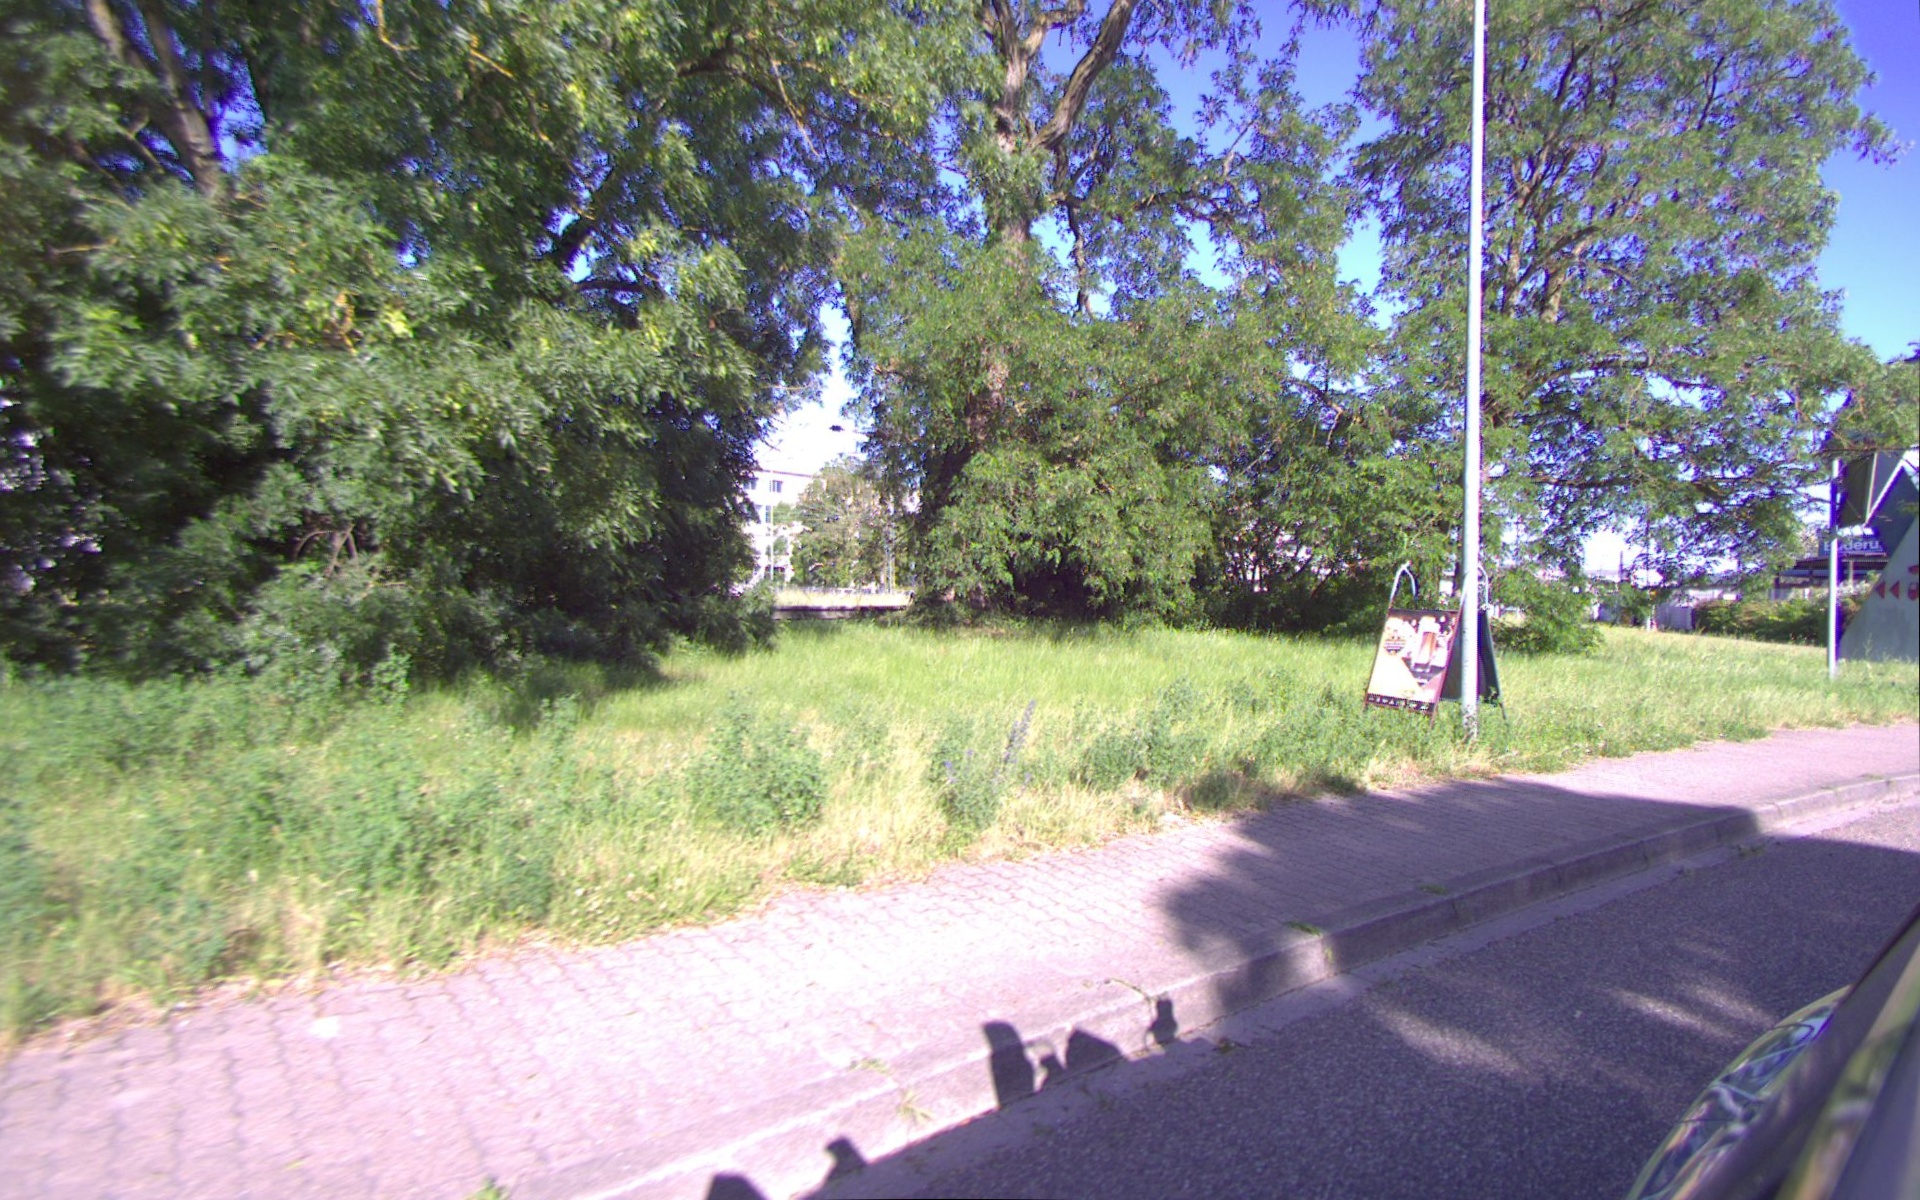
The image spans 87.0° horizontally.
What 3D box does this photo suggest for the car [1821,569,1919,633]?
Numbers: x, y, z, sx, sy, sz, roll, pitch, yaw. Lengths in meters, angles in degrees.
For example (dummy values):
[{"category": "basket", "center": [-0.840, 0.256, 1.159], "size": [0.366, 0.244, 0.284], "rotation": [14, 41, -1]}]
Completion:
[{"category": "car", "center": [39.433, 0.003, 42.975], "size": [1.807, 2.573, 5.026], "rotation": [1, 1, 6]}]
